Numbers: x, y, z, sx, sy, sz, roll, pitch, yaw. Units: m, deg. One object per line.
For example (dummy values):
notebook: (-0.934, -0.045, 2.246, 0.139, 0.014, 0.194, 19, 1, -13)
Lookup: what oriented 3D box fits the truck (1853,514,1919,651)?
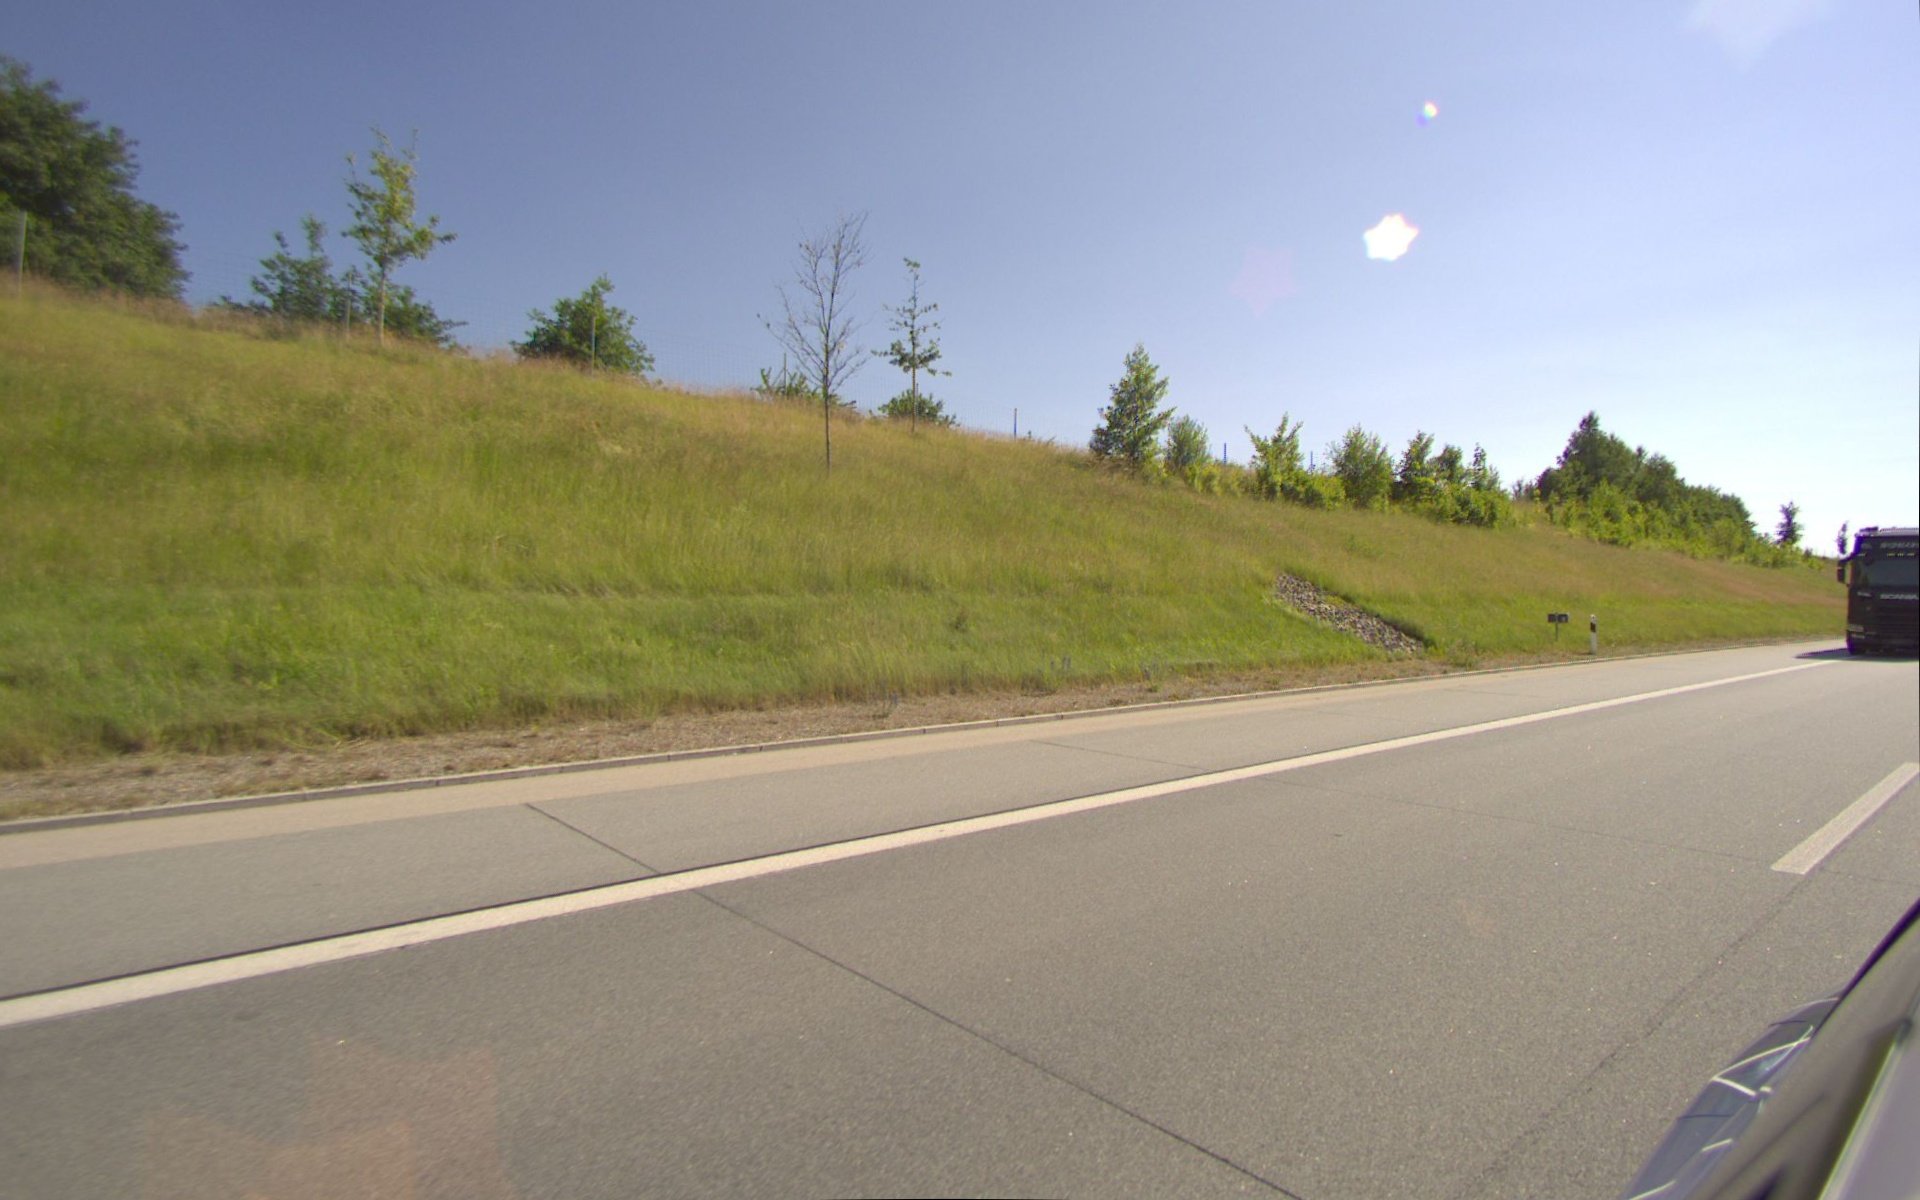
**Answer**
truck: (32.034, -0.493, 32.848, 13.164, 3.866, 2.622, 0, 0, -40)
